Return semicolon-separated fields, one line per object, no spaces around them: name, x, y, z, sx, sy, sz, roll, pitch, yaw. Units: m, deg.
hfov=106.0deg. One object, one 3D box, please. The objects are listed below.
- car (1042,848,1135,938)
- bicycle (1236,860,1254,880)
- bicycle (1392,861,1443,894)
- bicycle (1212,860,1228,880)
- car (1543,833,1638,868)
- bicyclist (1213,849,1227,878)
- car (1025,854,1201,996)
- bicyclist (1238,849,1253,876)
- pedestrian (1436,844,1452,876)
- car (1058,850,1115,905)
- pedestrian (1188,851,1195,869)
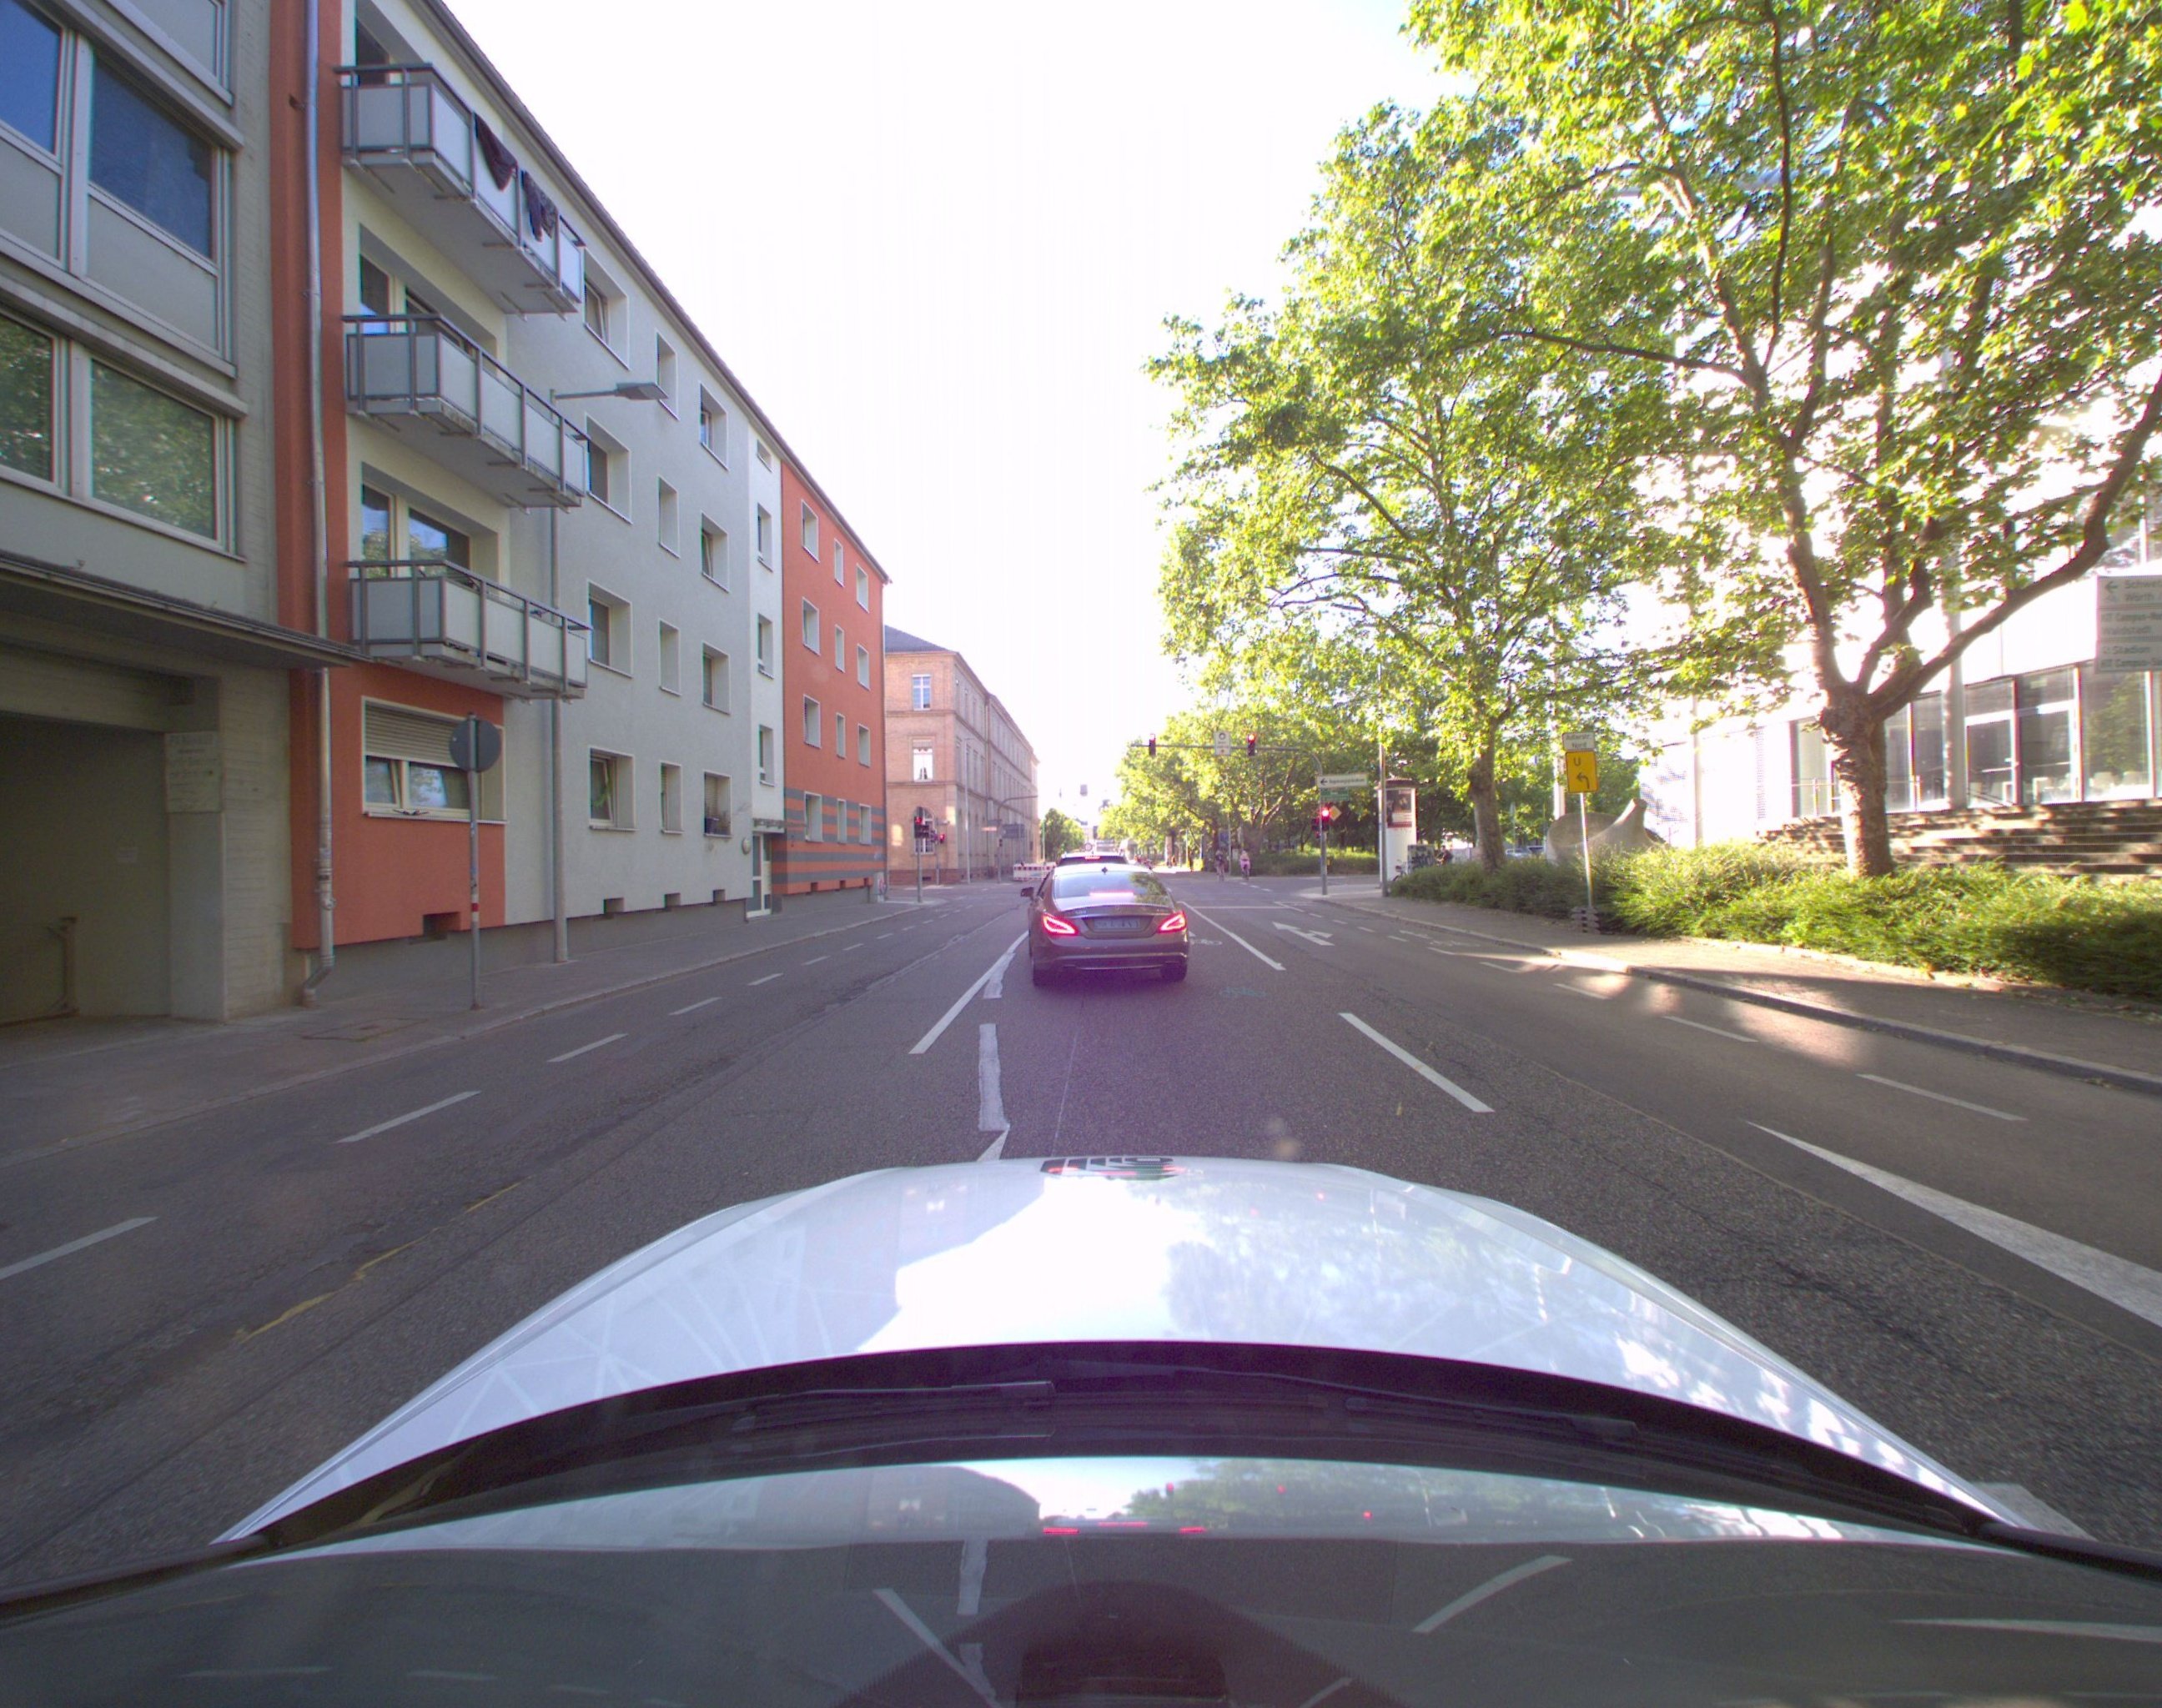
car;0.161;0.726;16.937;1.676;1.625;3.841;-1;0;0
bicycle;8.687;0.837;43.119;0.598;0.985;1.882;1;0;2
bicycle;10.937;0.755;26.495;1.411;1.037;0.538;-1;0;-2
bicycle;7.342;0.822;43.050;0.608;1.026;1.732;0;0;2
car;27.893;-0.175;44.705;3.975;1.784;2.004;-1;0;6
bicyclist;7.347;0.519;42.945;0.608;1.516;0.890;0;0;2
car;0.202;0.768;10.896;1.818;1.476;4.345;-1;0;-5
bicyclist;8.686;0.441;43.066;0.598;1.402;0.931;1;0;2
pedestrian;20.985;0.352;47.088;0.617;1.784;0.631;-1;0;4
car;0.185;0.723;26.363;1.676;1.625;3.841;-1;0;0
pedestrian;10.454;0.608;76.838;0.557;1.678;0.565;-1;0;1
